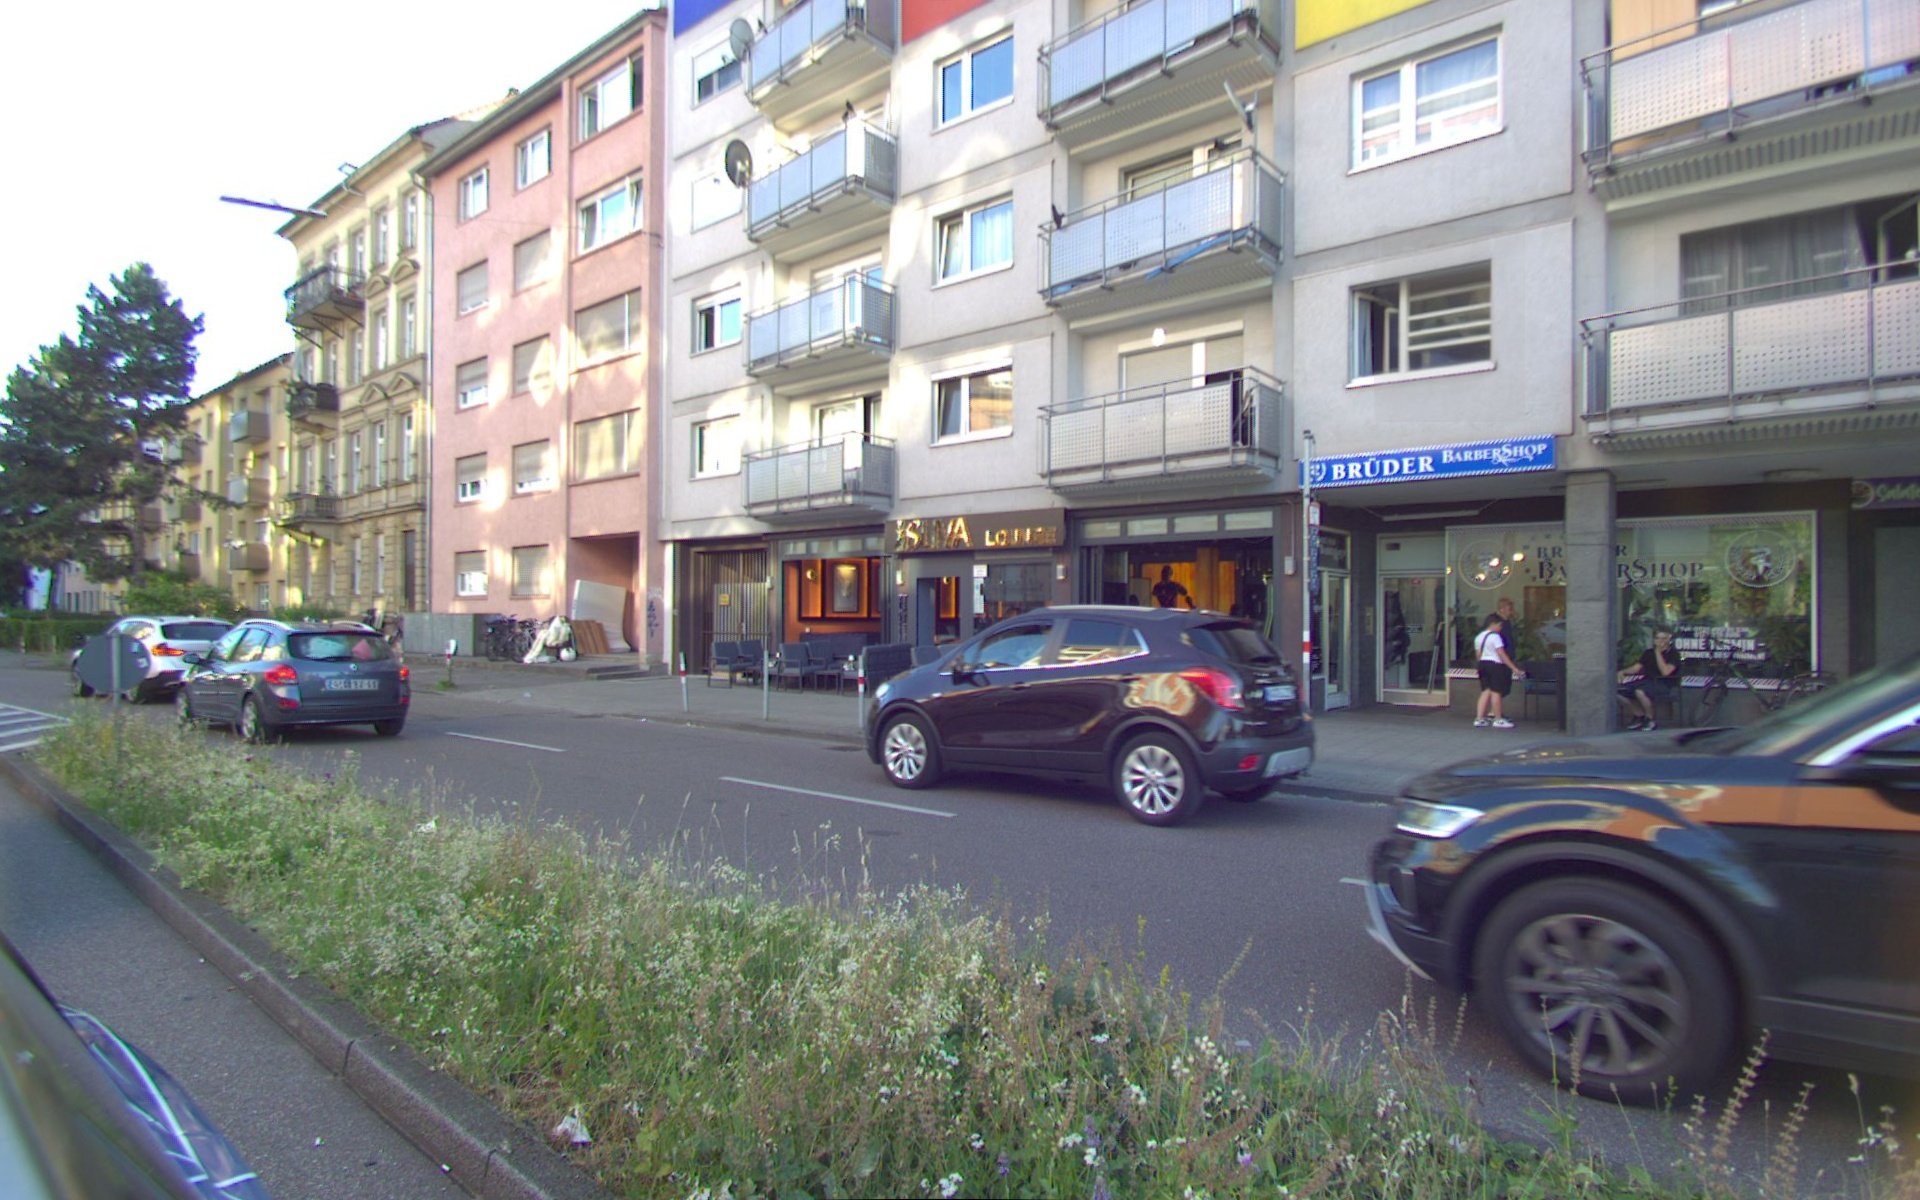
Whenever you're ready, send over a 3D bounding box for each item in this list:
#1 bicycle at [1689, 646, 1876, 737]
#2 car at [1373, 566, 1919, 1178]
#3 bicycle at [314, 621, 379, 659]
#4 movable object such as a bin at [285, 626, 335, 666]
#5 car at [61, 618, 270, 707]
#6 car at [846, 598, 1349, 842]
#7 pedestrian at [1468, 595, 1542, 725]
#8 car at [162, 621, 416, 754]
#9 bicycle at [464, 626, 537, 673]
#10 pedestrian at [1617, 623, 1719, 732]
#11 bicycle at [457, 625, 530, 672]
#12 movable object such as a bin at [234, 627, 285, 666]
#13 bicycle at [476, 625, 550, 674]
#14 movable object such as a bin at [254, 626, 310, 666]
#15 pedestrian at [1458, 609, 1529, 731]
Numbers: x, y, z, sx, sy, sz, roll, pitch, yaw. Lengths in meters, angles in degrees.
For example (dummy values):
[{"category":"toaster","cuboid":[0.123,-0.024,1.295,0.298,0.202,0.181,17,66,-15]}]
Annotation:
[{"category":"bicycle","cuboid":[9.979,1.086,12.362,1.691,1.006,0.620,0,-1,32]},{"category":"car","cuboid":[3.512,0.708,2.773,4.100,1.556,1.658,-2,-3,41]},{"category":"bicycle","cuboid":[-19.990,1.276,32.992,0.473,1.200,1.758,-1,-2,38]},{"category":"movable object such as a bin","cuboid":[-20.939,1.468,32.605,0.837,1.242,1.193,0,-1,1]},{"category":"car","cuboid":[-14.873,1.117,18.898,4.234,1.499,1.739,-1,-3,32]},{"category":"car","cuboid":[1.025,0.880,8.840,4.100,1.641,1.701,-2,-3,41]},{"category":"pedestrian","cuboid":[7.266,0.791,13.521,0.650,1.685,0.625,0,-1,5]},{"category":"car","cuboid":[-8.818,1.039,13.194,3.980,1.482,1.577,-1,-3,38]},{"category":"bicycle","cuboid":[-12.156,1.282,26.823,0.473,1.200,1.758,-1,-2,38]},{"category":"pedestrian","cuboid":[8.801,0.949,12.601,0.798,1.323,0.626,0,-1,-3]},{"category":"bicycle","cuboid":[-12.545,1.287,27.261,0.473,1.200,1.758,-1,-2,38]},{"category":"movable object such as a bin","cuboid":[-22.795,1.493,32.941,0.837,1.242,1.193,0,-1,1]},{"category":"bicycle","cuboid":[-11.614,1.268,26.329,0.473,1.200,1.758,-1,-2,38]},{"category":"movable object such as a bin","cuboid":[-21.868,1.479,32.656,0.916,1.242,1.292,0,-1,1]},{"category":"pedestrian","cuboid":[6.746,0.862,12.801,0.626,1.478,0.649,-1,-2,44]}]
